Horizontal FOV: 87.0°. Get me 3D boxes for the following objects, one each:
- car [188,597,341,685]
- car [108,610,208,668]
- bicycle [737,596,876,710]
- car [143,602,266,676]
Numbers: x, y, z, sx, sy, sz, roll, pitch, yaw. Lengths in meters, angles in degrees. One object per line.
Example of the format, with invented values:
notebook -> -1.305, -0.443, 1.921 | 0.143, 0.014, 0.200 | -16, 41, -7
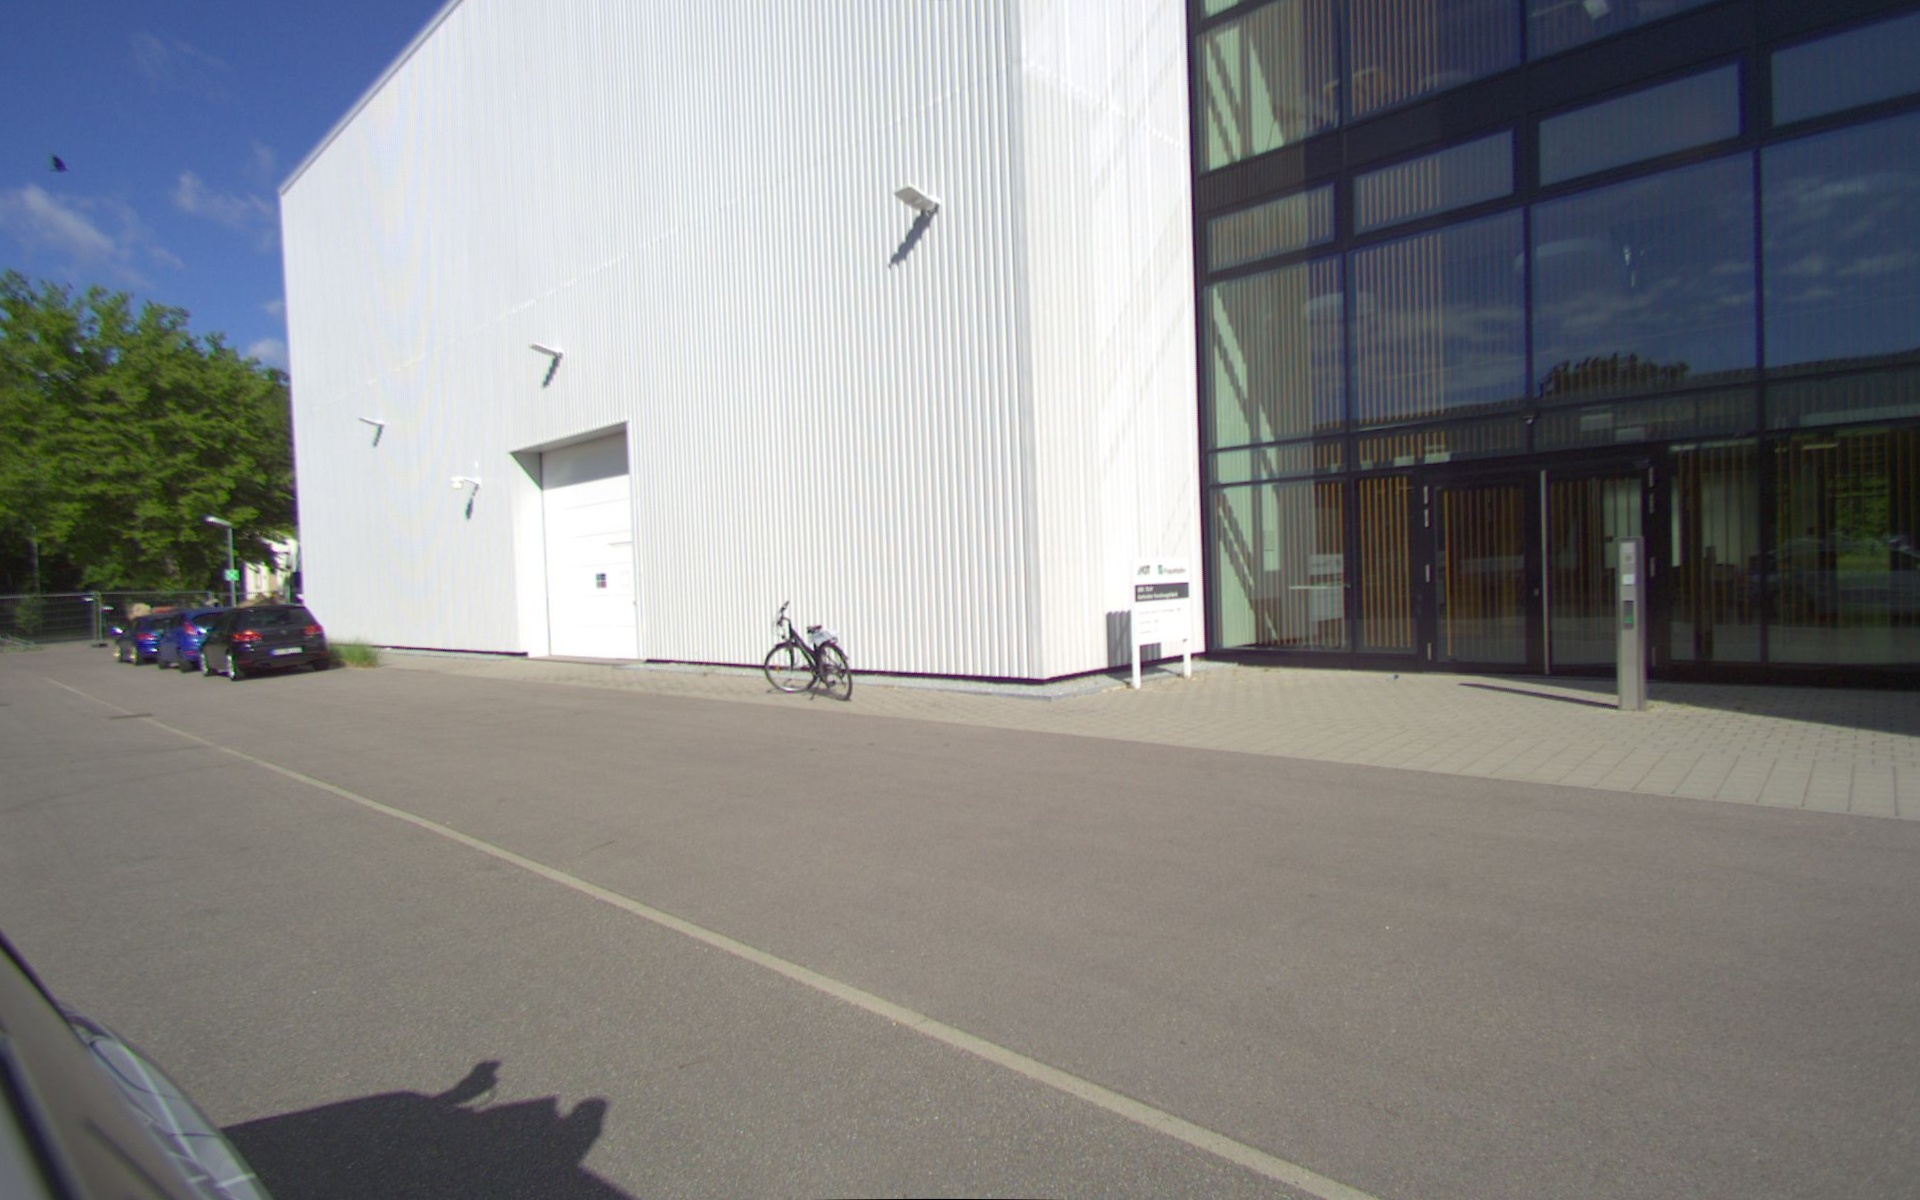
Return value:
car -> -14.878, 0.817, 21.568 | 4.002, 1.533, 1.870 | -1, 4, 45
car -> -22.849, 1.067, 28.778 | 4.002, 1.451, 1.765 | -1, 1, 45
bicycle -> -1.888, 0.580, 12.177 | 0.895, 1.151, 1.905 | -6, 4, -32
car -> -18.770, 0.930, 25.088 | 4.002, 1.533, 1.766 | -1, 4, 45
